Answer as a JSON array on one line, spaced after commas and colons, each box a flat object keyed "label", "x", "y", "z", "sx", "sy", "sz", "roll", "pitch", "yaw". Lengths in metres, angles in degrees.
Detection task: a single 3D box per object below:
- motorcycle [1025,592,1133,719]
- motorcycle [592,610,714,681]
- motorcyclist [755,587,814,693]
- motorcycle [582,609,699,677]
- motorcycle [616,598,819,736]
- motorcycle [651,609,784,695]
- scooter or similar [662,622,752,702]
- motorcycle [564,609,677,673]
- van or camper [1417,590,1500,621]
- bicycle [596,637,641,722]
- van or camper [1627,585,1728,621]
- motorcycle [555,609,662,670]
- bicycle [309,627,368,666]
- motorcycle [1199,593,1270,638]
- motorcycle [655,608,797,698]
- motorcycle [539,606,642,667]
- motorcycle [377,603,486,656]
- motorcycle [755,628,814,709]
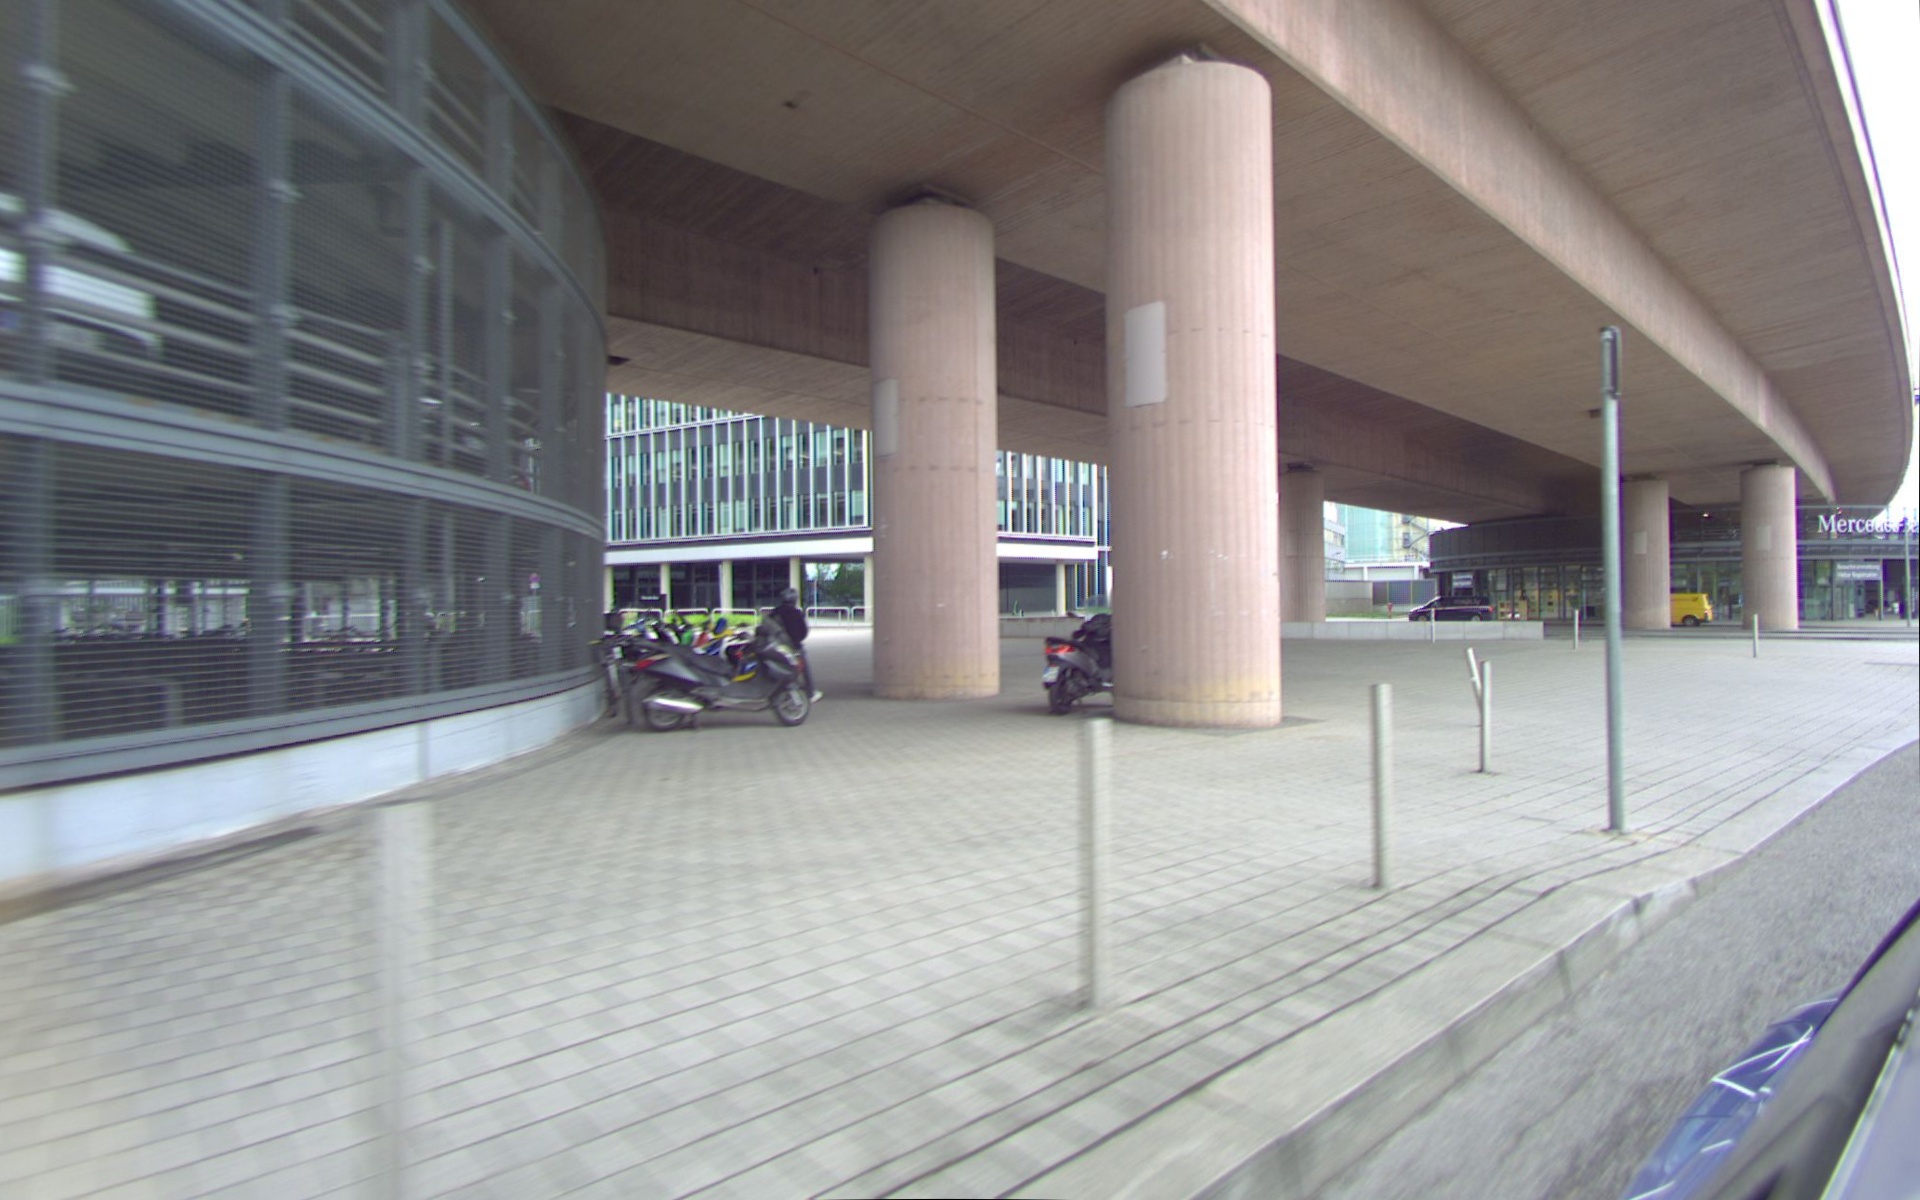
[{"label": "motorcycle", "x": 1.525, "y": 0.664, "z": 12.699, "sx": 0.639, "sy": 1.474, "sz": 1.741, "roll": 0, "pitch": -1, "yaw": 33}, {"label": "motorcycle", "x": -5.651, "y": 0.821, "z": 18.690, "sx": 2.042, "sy": 1.236, "sz": 0.673, "roll": 2, "pitch": -1, "yaw": -41}, {"label": "motorcyclist", "x": -2.465, "y": 0.550, "z": 14.168, "sx": 0.748, "sy": 1.438, "sz": 0.871, "roll": 1, "pitch": -1, "yaw": -12}, {"label": "motorcycle", "x": -6.167, "y": 0.814, "z": 19.594, "sx": 2.042, "sy": 1.236, "sz": 0.673, "roll": 2, "pitch": -1, "yaw": -41}, {"label": "motorcycle", "x": -2.707, "y": 0.703, "z": 11.370, "sx": 2.125, "sy": 1.438, "sz": 0.632, "roll": 0, "pitch": -1, "yaw": -28}, {"label": "motorcycle", "x": -3.967, "y": 0.824, "z": 16.669, "sx": 2.091, "sy": 1.319, "sz": 0.607, "roll": 0, "pitch": -1, "yaw": -38}, {"label": "scooter or similar", "x": -3.770, "y": 0.917, "z": 15.099, "sx": 1.226, "sy": 1.148, "sz": 0.400, "roll": 1, "pitch": -1, "yaw": -30}, {"label": "motorcycle", "x": -6.830, "y": 0.806, "z": 20.439, "sx": 2.042, "sy": 1.236, "sz": 0.673, "roll": 2, "pitch": -1, "yaw": -41}, {"label": "van or camper", "x": 32.828, "y": 0.367, "z": 66.822, "sx": 4.851, "sy": 1.917, "sz": 2.135, "roll": 0, "pitch": -1, "yaw": 26}, {"label": "bicycle", "x": -4.386, "y": 0.991, "z": 13.057, "sx": 0.442, "sy": 0.989, "sz": 1.480, "roll": 1, "pitch": -1, "yaw": -15}, {"label": "van or camper", "x": 42.605, "y": 0.187, "z": 60.170, "sx": 2.321, "sy": 2.025, "sz": 4.497, "roll": 1, "pitch": -1, "yaw": -41}, {"label": "motorcycle", "x": -7.437, "y": 0.830, "z": 21.482, "sx": 2.042, "sy": 1.236, "sz": 0.673, "roll": 2, "pitch": -1, "yaw": -41}, {"label": "bicycle", "x": -15.437, "y": 1.141, "z": 25.132, "sx": 1.489, "sy": 0.907, "sz": 0.471, "roll": 0, "pitch": -1, "yaw": 24}, {"label": "motorcycle", "x": 7.929, "y": 0.439, "z": 29.275, "sx": 1.923, "sy": 1.281, "sz": 0.543, "roll": 0, "pitch": -1, "yaw": 28}, {"label": "motorcycle", "x": -3.644, "y": 0.793, "z": 15.842, "sx": 2.081, "sy": 1.327, "sz": 0.609, "roll": 0, "pitch": -1, "yaw": -28}, {"label": "motorcycle", "x": -8.203, "y": 0.804, "z": 22.533, "sx": 2.042, "sy": 1.302, "sz": 0.673, "roll": 2, "pitch": -1, "yaw": -41}, {"label": "motorcycle", "x": -13.254, "y": 0.731, "z": 25.445, "sx": 2.321, "sy": 1.292, "sz": 0.673, "roll": 2, "pitch": -1, "yaw": -41}, {"label": "motorcycle", "x": -2.513, "y": 0.933, "z": 14.348, "sx": 0.733, "sy": 1.035, "sz": 1.960, "roll": 1, "pitch": -1, "yaw": -12}]
